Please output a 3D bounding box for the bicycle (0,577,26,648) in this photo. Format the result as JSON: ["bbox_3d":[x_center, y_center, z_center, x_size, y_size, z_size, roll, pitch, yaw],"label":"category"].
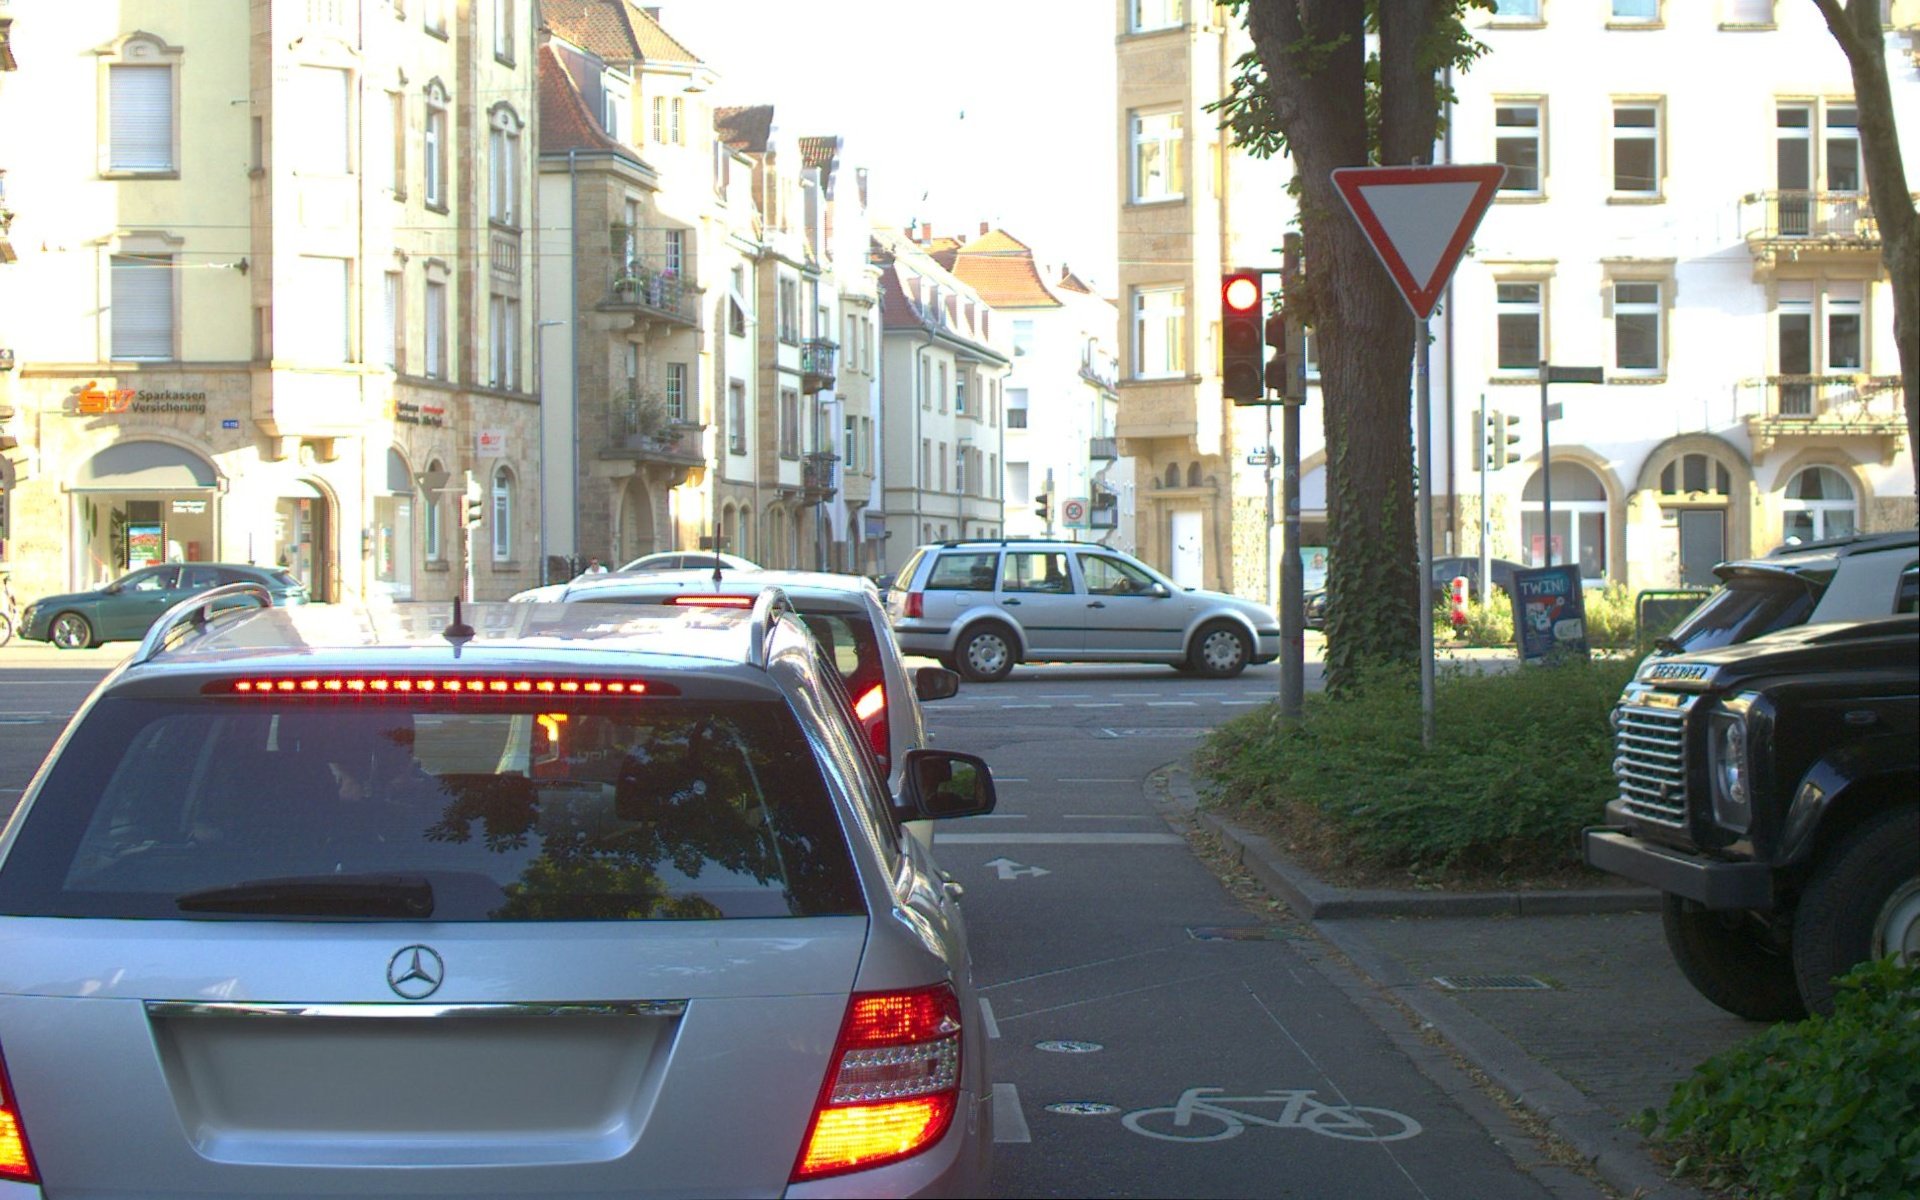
[{"bbox_3d":[-17.630,0.225,60.404,2.256,1.242,0.637,0,1,-5],"label":"bicycle"}]

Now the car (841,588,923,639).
[{"bbox_3d":[-2.315,0.377,102.524,1.835,1.397,3.999,0,1,8],"label":"car"}]

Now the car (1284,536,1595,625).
[{"bbox_3d":[8.009,-0.341,57.669,4.883,1.447,1.859,0,1,-4],"label":"car"}]

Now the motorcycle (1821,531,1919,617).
[{"bbox_3d":[15.789,-0.445,58.687,2.033,1.447,0.568,-1,1,-4],"label":"motorcycle"}]

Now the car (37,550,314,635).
[{"bbox_3d":[-12.730,-0.134,55.989,4.220,1.344,1.665,0,1,-6],"label":"car"}]

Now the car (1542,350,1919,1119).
[{"bbox_3d":[4.137,0.302,10.113,4.465,2.029,1.701,-1,0,-3],"label":"car"}]

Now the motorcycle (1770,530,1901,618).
[{"bbox_3d":[14.630,-0.444,57.474,2.033,1.447,0.568,-1,1,-4],"label":"motorcycle"}]

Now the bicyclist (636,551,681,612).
[{"bbox_3d":[-6.437,-0.404,73.462,0.771,1.285,0.752,1,1,11],"label":"bicyclist"}]

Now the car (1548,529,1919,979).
[{"bbox_3d":[4.292,0.501,13.082,3.723,1.564,1.709,-1,0,-4],"label":"car"}]

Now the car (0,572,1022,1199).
[{"bbox_3d":[-0.896,0.686,6.953,1.777,1.447,4.548,0,1,-2],"label":"car"}]

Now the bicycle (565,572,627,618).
[{"bbox_3d":[-7.762,-0.119,73.378,0.771,0.936,1.939,1,1,11],"label":"bicycle"}]

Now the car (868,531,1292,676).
[{"bbox_3d":[1.249,0.015,36.932,4.344,1.491,1.662,0,1,-7],"label":"car"}]

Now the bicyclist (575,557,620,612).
[{"bbox_3d":[-7.744,-0.341,73.453,0.771,1.152,0.752,1,1,11],"label":"bicyclist"}]

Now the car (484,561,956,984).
[{"bbox_3d":[-0.912,0.573,14.043,1.619,1.442,4.345,0,1,-2],"label":"car"}]

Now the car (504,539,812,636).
[{"bbox_3d":[-4.717,-0.215,53.695,4.702,1.455,1.837,0,1,-6],"label":"car"}]
